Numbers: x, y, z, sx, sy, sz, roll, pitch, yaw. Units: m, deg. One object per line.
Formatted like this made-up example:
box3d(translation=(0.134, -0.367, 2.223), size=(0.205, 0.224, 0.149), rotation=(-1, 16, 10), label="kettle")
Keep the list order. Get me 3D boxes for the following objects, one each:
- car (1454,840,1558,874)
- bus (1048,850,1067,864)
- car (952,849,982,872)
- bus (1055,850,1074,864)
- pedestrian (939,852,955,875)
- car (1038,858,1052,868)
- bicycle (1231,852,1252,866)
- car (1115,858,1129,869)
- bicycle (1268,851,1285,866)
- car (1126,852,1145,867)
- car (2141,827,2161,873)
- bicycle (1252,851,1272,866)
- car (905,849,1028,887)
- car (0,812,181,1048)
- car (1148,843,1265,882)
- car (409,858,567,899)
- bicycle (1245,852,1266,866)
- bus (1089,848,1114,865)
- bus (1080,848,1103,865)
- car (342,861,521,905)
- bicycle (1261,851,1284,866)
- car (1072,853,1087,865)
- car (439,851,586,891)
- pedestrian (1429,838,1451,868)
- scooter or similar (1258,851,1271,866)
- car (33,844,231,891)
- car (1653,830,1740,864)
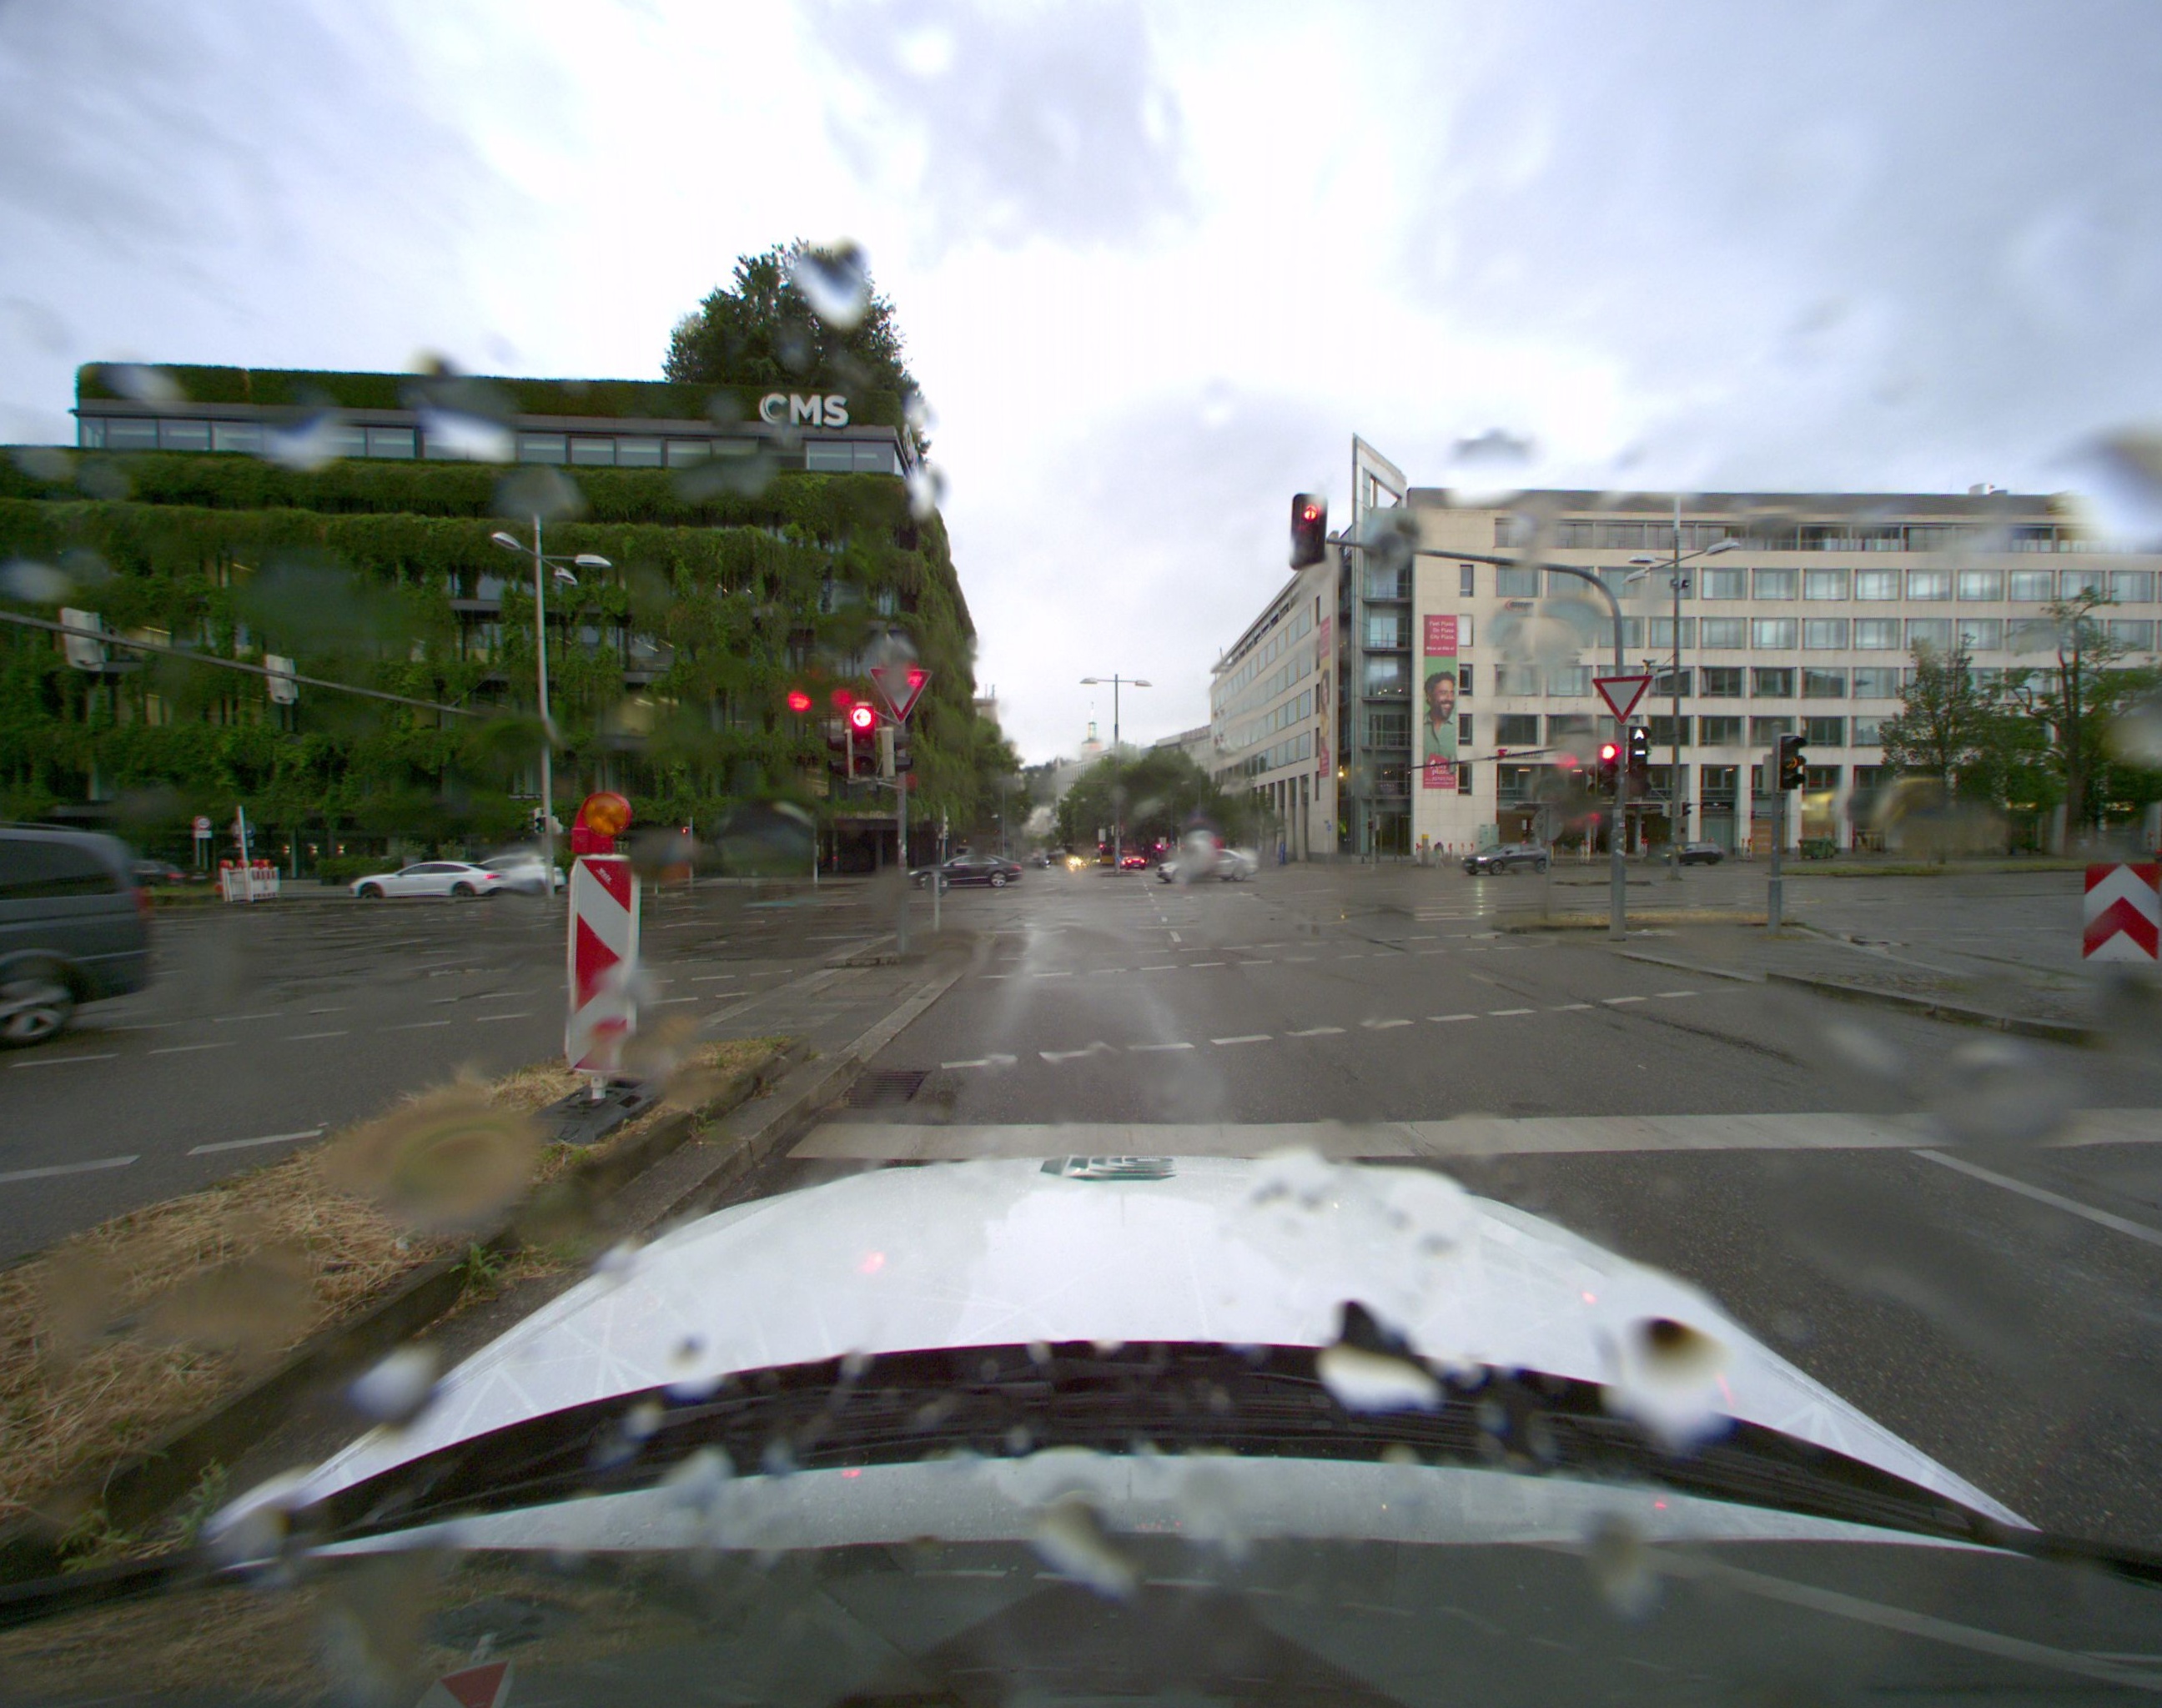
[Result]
box3d(translation=(20.826, 0.124, 39.961), size=(4.480, 1.609, 1.823), rotation=(0, -1, -14), label="car")
box3d(translation=(-5.246, 0.686, 180.723), size=(2.631, 2.995, 7.415), rotation=(-1, 0, -13), label="bus")
box3d(translation=(-9.561, 0.533, 68.740), size=(1.863, 1.839, 4.001), rotation=(0, -1, 2), label="car")
box3d(translation=(-3.549, 0.670, 173.580), size=(2.631, 2.995, 7.294), rotation=(-1, 0, -13), label="bus")
box3d(translation=(-9.425, 0.658, 57.285), size=(0.930, 1.644, 0.774), rotation=(0, -1, 1), label="pedestrian")
box3d(translation=(-7.083, 1.758, 158.238), size=(2.163, 1.765, 4.816), rotation=(-2, 0, -9), label="car")
box3d(translation=(14.294, 0.439, 72.610), size=(1.770, 1.194, 0.587), rotation=(0, -1, 3), label="bicycle")
box3d(translation=(5.409, 1.248, 106.833), size=(1.775, 1.508, 4.001), rotation=(0, -1, 2), label="car")
box3d(translation=(16.049, 0.379, 66.743), size=(0.579, 1.194, 1.794), rotation=(-1, -1, 40), label="bicycle")
box3d(translation=(5.704, 0.593, 85.529), size=(1.775, 1.508, 4.001), rotation=(0, -1, 2), label="car")
box3d(translation=(41.791, -0.189, 29.981), size=(3.991, 1.695, 1.927), rotation=(-1, 0, -13), label="car")
box3d(translation=(14.726, 0.384, 66.217), size=(0.588, 1.194, 1.768), rotation=(0, -1, -26), label="bicycle")
box3d(translation=(-4.772, 0.579, 33.696), size=(4.856, 1.477, 1.989), rotation=(0, -2, -16), label="car")
box3d(translation=(-9.923, 0.647, 5.490), size=(1.985, 1.927, 4.970), rotation=(-1, 1, 4), label="car")
box3d(translation=(5.524, 0.337, 36.075), size=(4.721, 1.477, 1.993), rotation=(-2, 2, -12), label="car")
box3d(translation=(-23.311, 0.936, 32.228), size=(4.690, 1.512, 1.802), rotation=(0, -1, -14), label="car")
box3d(translation=(15.285, 0.422, 71.417), size=(1.770, 1.194, 0.587), rotation=(0, -1, 3), label="bicycle")
box3d(translation=(3.674, 0.421, 146.095), size=(2.631, 2.995, 7.415), rotation=(-1, 0, -13), label="bus")
box3d(translation=(1.981, 0.430, 153.288), size=(2.631, 2.995, 7.415), rotation=(-1, 0, -13), label="bus")
box3d(translation=(-23.342, 1.021, 29.455), size=(4.688, 1.512, 1.802), rotation=(0, -1, -13), label="car")
box3d(translation=(15.199, 0.368, 64.652), size=(1.607, 1.194, 0.590), rotation=(-1, -1, 27), label="bicycle")
box3d(translation=(-0.309, 0.843, 127.034), size=(2.158, 1.765, 5.109), rotation=(2, -1, -1), label="car")
box3d(translation=(-23.890, 0.717, 34.410), size=(4.688, 1.626, 1.802), rotation=(1, -1, -13), label="car")
box3d(translation=(21.800, -0.056, 49.457), size=(0.958, 1.816, 0.837), rotation=(0, -1, 1), label="pedestrian")
box3d(translation=(14.418, 0.368, 63.986), size=(0.951, 1.194, 0.458), rotation=(-1, -1, 42), label="scooter or similar")
box3d(translation=(-34.623, 0.469, 29.853), size=(4.406, 1.638, 1.992), rotation=(0, -1, -11), label="car")
box3d(translation=(37.577, -0.444, 49.710), size=(4.655, 2.014, 1.543), rotation=(0, -1, -12), label="car")
